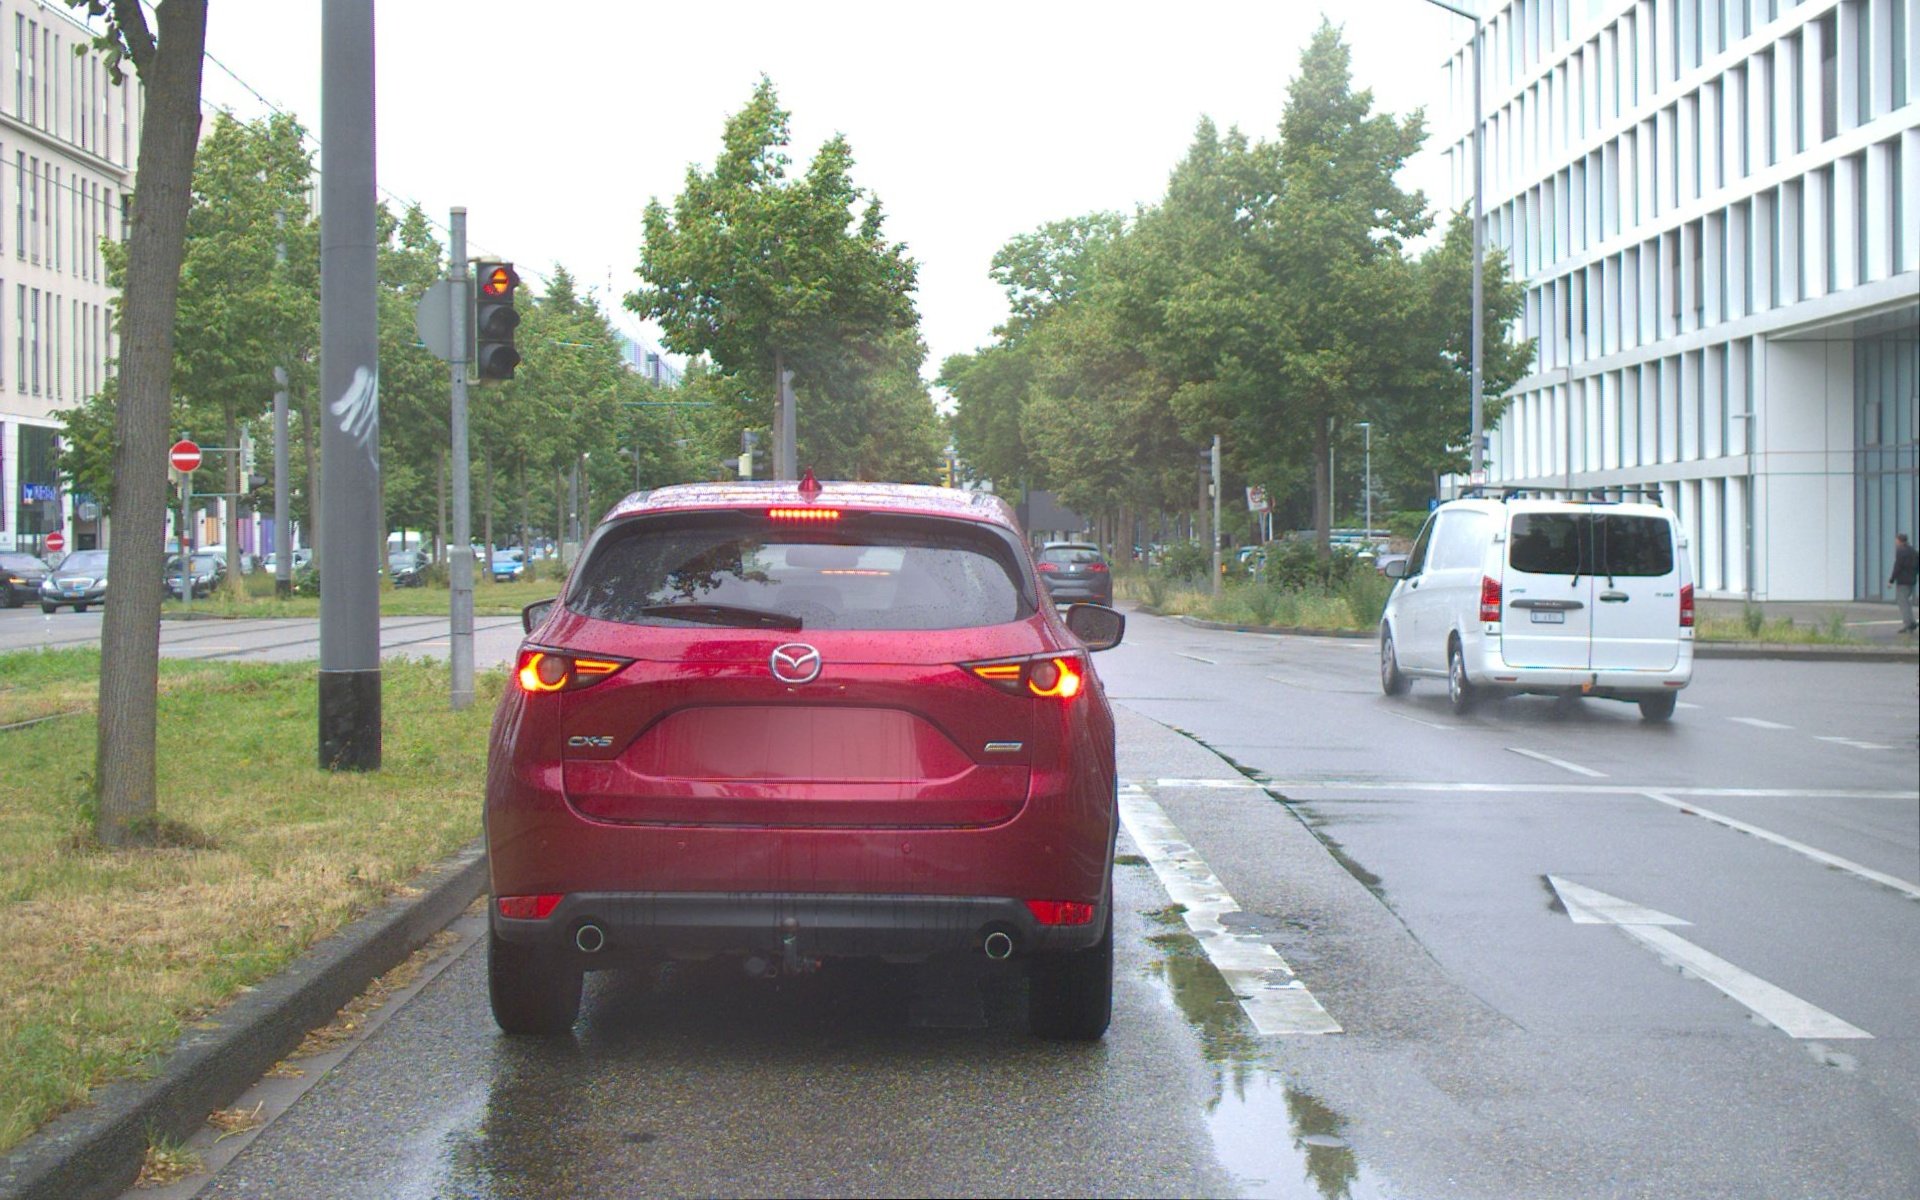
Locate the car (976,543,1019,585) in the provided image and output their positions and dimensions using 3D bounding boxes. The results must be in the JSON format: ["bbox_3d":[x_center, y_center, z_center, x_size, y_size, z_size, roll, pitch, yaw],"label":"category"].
[{"bbox_3d":[1.802,-1.737,164.705,1.993,2.007,4.000,0,1,0],"label":"car"}]

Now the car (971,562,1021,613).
[{"bbox_3d":[1.481,-0.529,141.655,1.993,2.007,4.000,0,1,0],"label":"car"}]

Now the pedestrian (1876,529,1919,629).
[{"bbox_3d":[16.270,-0.364,59.347,0.677,1.701,0.784,0,1,-2],"label":"pedestrian"}]

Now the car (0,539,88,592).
[{"bbox_3d":[-26.763,-1.020,99.845,1.993,1.479,4.446,0,1,-4],"label":"car"}]

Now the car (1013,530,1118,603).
[{"bbox_3d":[2.173,-0.712,71.648,1.743,1.460,3.782,0,1,-5],"label":"car"}]

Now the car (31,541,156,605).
[{"bbox_3d":[-20.638,-0.668,82.075,1.993,1.479,4.446,0,1,-2],"label":"car"}]

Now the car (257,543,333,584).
[{"bbox_3d":[-25.135,-1.395,130.046,1.993,1.479,4.446,0,1,0],"label":"car"}]

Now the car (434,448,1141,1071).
[{"bbox_3d":[-0.497,0.388,11.279,1.898,1.671,4.000,0,1,-1],"label":"car"}]

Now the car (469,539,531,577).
[{"bbox_3d":[-18.294,-1.692,136.942,1.993,1.479,4.446,0,1,-2],"label":"car"}]

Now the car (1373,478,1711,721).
[{"bbox_3d":[5.075,-0.034,30.709,1.967,1.972,5.092,1,1,-2],"label":"car"}]

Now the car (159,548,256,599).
[{"bbox_3d":[-23.215,-0.837,106.225,1.993,1.479,4.446,1,1,0],"label":"car"}]
